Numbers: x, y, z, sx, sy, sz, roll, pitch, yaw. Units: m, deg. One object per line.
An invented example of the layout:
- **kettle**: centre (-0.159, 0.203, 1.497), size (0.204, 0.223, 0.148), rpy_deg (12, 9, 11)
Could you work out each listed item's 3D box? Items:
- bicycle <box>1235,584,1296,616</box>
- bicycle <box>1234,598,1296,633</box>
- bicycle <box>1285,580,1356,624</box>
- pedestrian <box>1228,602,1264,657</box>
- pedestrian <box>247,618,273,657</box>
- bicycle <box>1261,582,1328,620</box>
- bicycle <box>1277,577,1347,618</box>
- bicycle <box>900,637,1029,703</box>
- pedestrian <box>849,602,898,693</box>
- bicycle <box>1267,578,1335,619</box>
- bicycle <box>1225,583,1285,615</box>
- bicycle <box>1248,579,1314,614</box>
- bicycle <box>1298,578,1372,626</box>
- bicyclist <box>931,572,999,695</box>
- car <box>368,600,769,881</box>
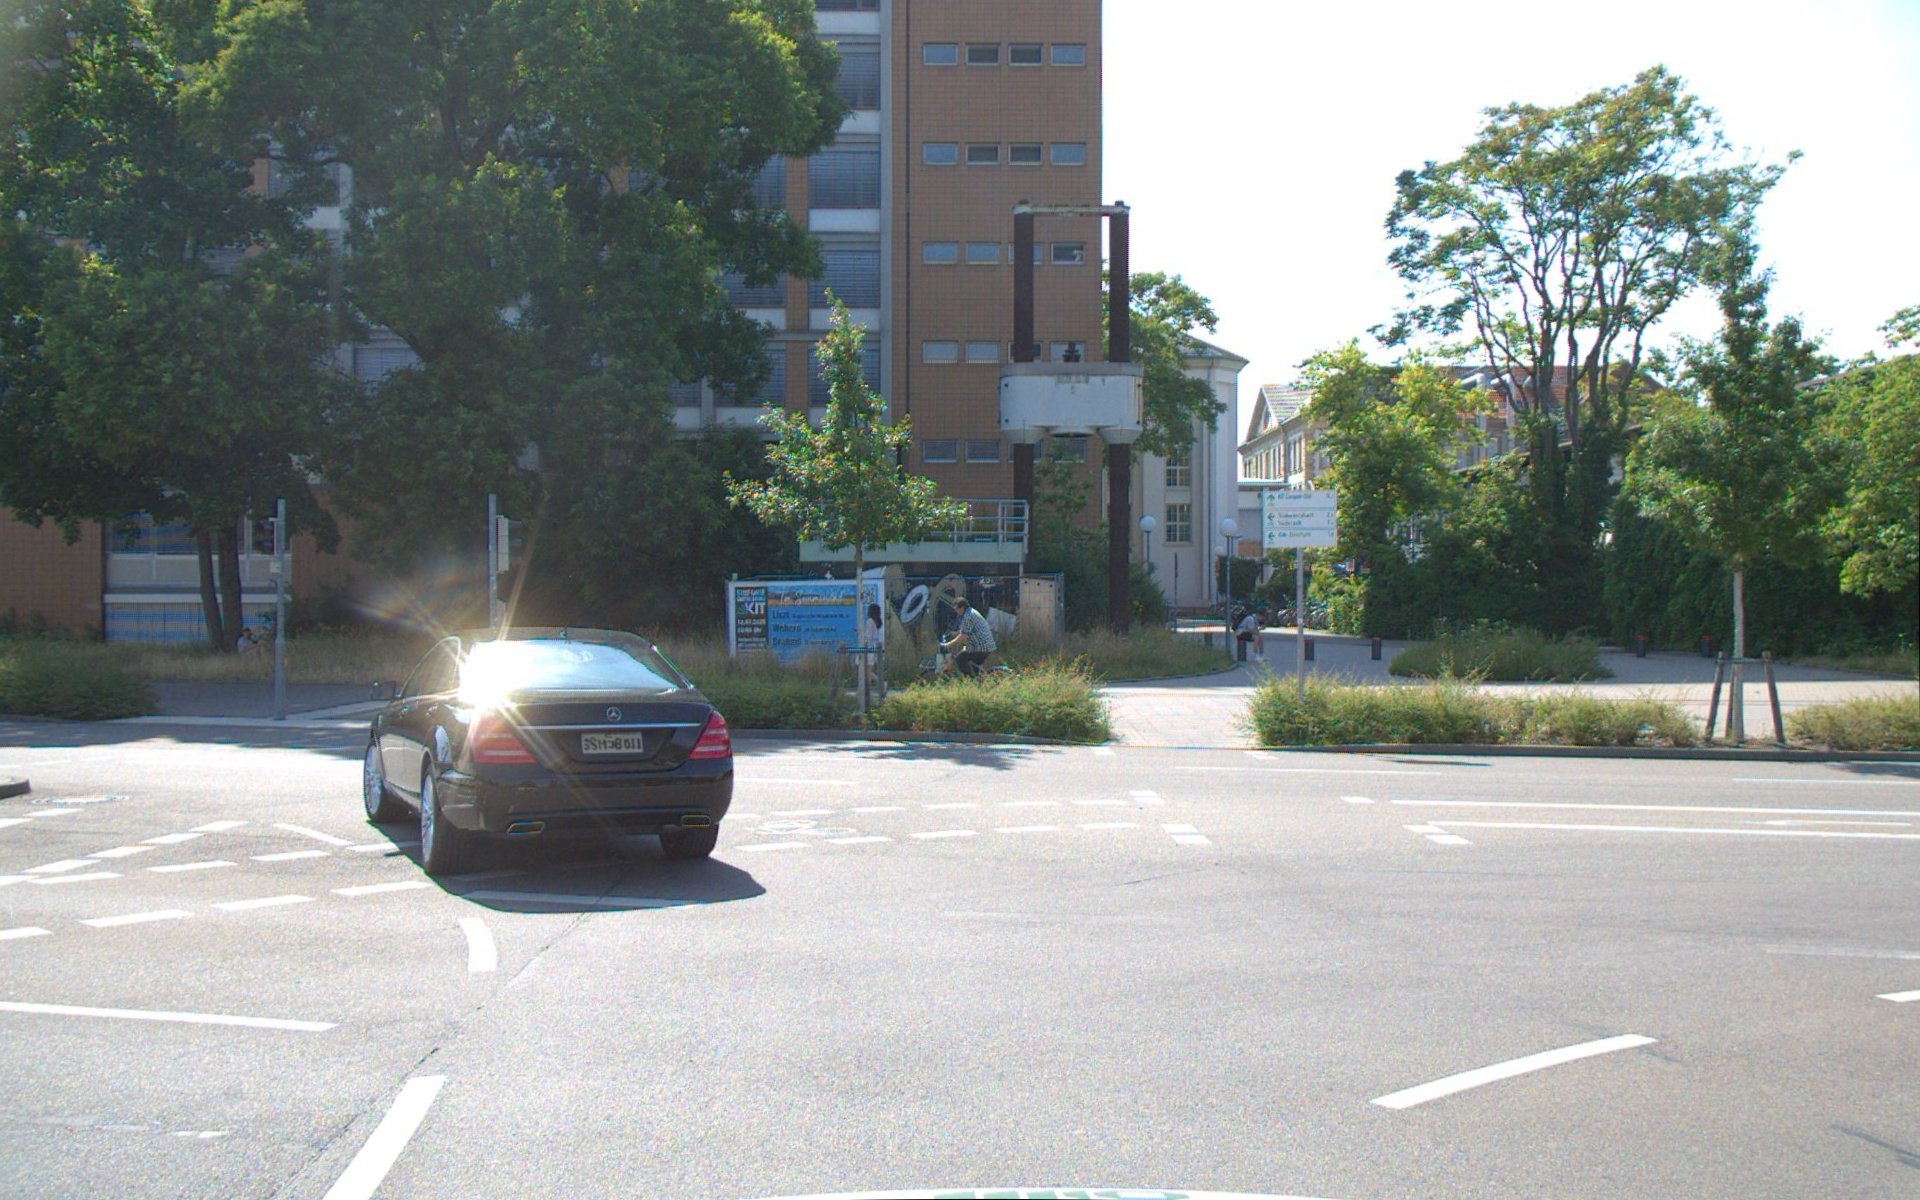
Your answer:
- **bicycle**: centre (14.659, -0.011, 79.377), size (2.765, 1.526, 0.841), rpy_deg (-1, 0, 0)
- **bicycle**: centre (14.270, 0.741, 77.456), size (2.765, 1.586, 0.841), rpy_deg (-1, 0, 0)
- **bicycle**: centre (14.947, 0.063, 68.608), size (2.765, 1.775, 0.841), rpy_deg (-1, 0, 0)
- **pedestrian**: centre (6.703, 0.690, 38.776), size (0.776, 1.235, 0.758), rpy_deg (2, 0, 7)
- **pedestrian**: centre (-16.413, 0.879, 38.778), size (0.419, 0.907, 0.393), rpy_deg (0, 0, 10)
- **bicycle**: centre (14.577, 0.055, 72.139), size (2.765, 1.615, 0.841), rpy_deg (-1, 0, 0)
- **bicycle**: centre (14.883, -0.096, 69.939), size (2.765, 1.678, 0.841), rpy_deg (-1, 0, 0)
- **bicycle**: centre (0.071, 1.112, 26.286), size (1.911, 0.963, 0.695), rpy_deg (-2, 0, 19)
- **pedestrian**: centre (-1.535, 0.833, 29.323), size (0.794, 1.607, 0.692), rpy_deg (0, 0, 3)
- **bicycle**: centre (14.653, -0.074, 71.071), size (2.765, 1.688, 0.842), rpy_deg (-1, 2, 0)
- **bicycle**: centre (14.444, -0.047, 81.095), size (2.765, 1.506, 0.841), rpy_deg (-1, 0, 0)
- **bicycle**: centre (14.368, -0.141, 74.071), size (2.765, 1.534, 0.841), rpy_deg (-1, 0, 0)
- **bicycle**: centre (15.049, 0.065, 66.347), size (2.765, 1.868, 0.841), rpy_deg (-1, 0, 0)
- **bicyclist**: centre (0.084, 0.529, 26.278), size (0.839, 1.911, 0.688), rpy_deg (-2, 0, 19)
- **car**: centre (-2.979, 0.872, 11.734), size (1.835, 1.557, 4.675), rpy_deg (2, -2, -25)
